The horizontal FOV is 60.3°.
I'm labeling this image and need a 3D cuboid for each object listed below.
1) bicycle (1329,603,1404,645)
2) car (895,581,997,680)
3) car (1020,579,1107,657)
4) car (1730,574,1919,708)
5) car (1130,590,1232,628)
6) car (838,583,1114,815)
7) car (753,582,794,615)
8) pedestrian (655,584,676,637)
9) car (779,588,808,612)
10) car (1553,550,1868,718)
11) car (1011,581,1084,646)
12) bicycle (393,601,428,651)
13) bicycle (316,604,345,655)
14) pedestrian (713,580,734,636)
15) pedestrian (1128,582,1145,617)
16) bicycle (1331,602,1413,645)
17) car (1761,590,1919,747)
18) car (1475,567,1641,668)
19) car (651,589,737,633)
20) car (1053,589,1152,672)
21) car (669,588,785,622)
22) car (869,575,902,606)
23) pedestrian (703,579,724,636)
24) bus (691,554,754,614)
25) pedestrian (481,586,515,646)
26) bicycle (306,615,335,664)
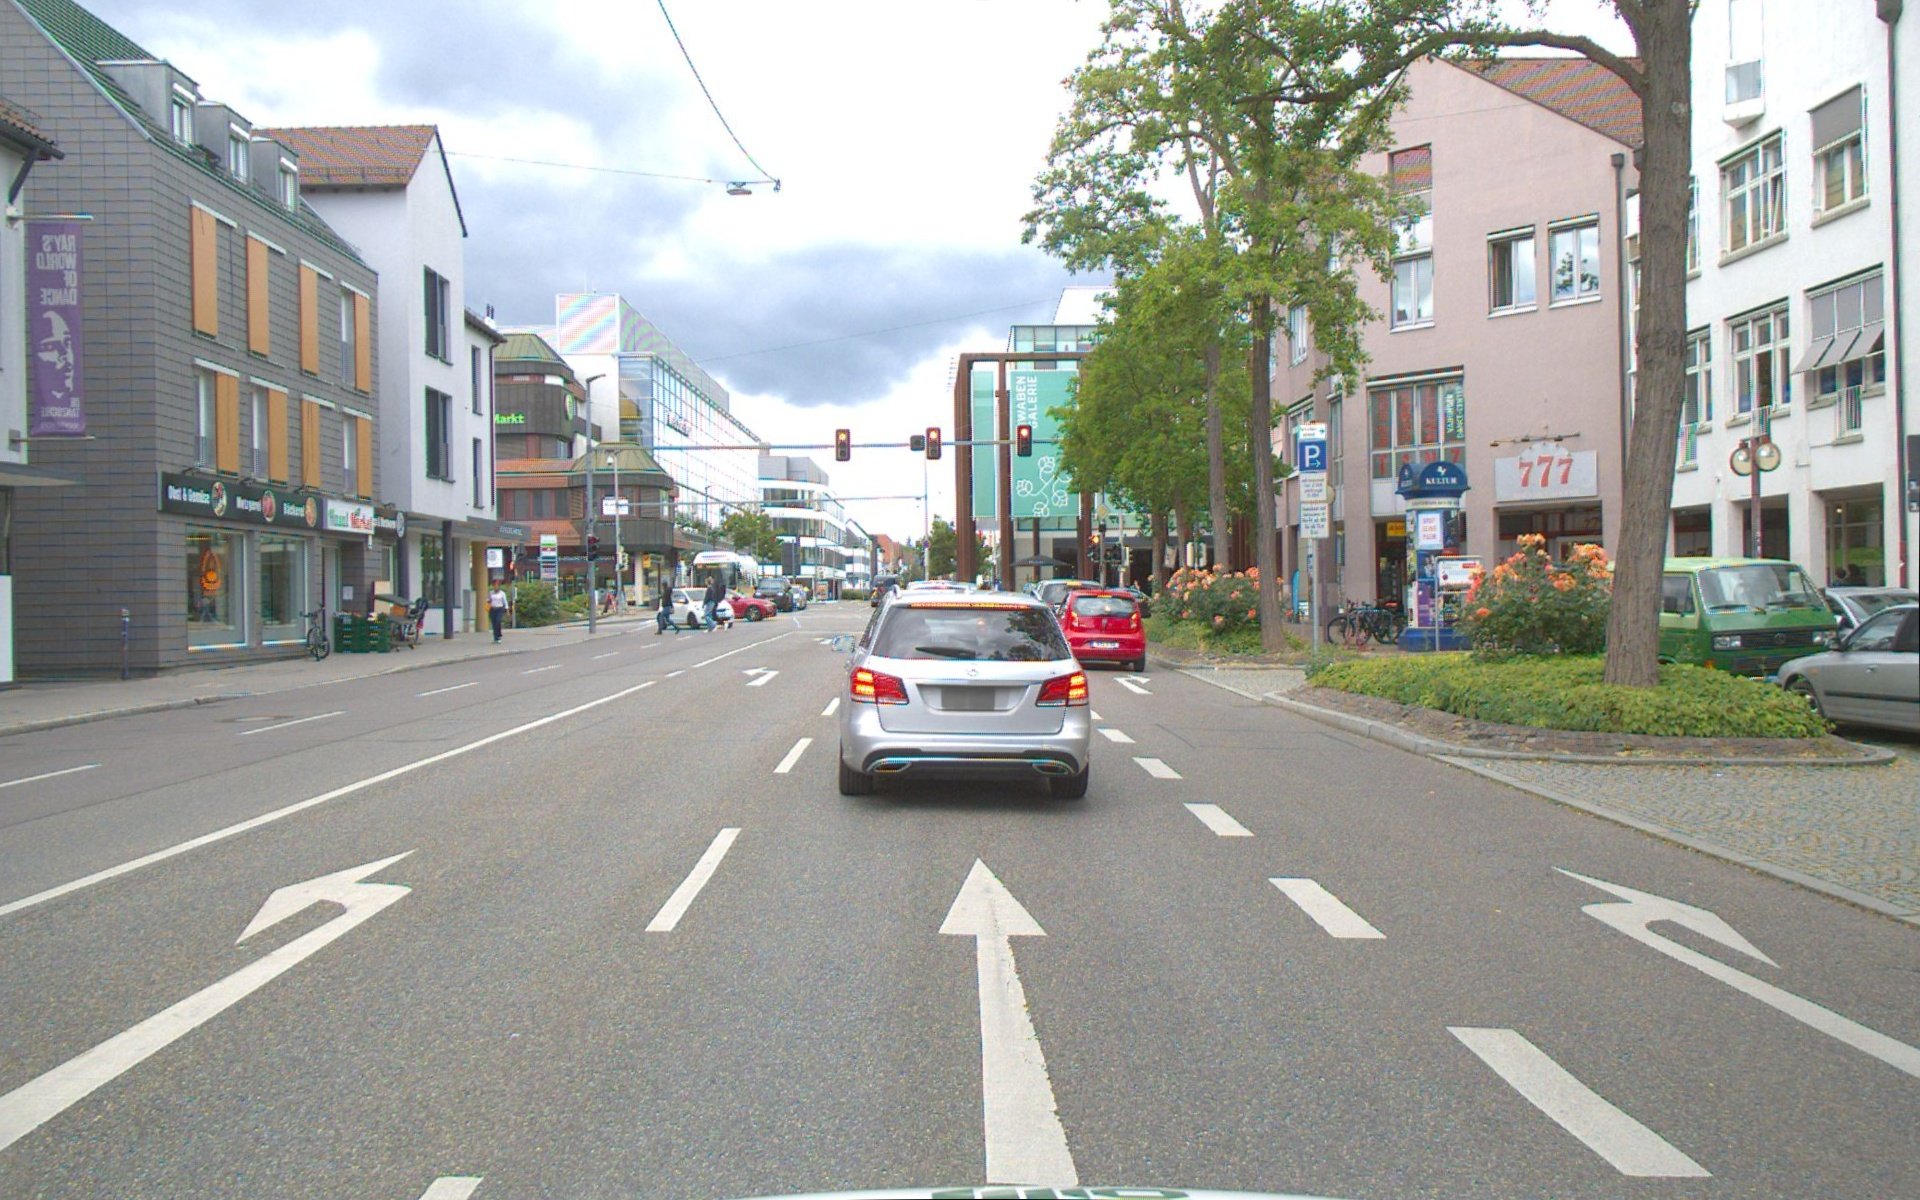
[{"bbox_3d":[9.926,0.584,40.411,1.731,1.014,0.447,-1,0,3],"label":"bicycle"},{"bbox_3d":[-0.246,0.474,28.097,1.606,1.554,3.393,1,0,-1],"label":"car"},{"bbox_3d":[2.321,0.373,37.839,1.555,1.662,3.915,1,0,-2],"label":"car"},{"bbox_3d":[12.271,0.465,22.071,1.760,1.569,4.392,-2,0,-3],"label":"car"},{"bbox_3d":[9.434,0.384,70.726,4.102,1.557,1.790,0,0,-1],"label":"car"},{"bbox_3d":[0.083,0.642,13.010,1.778,1.474,4.369,1,0,-1],"label":"car"},{"bbox_3d":[-10.385,-0.100,92.204,1.953,1.735,4.063,0,0,-2],"label":"car"},{"bbox_3d":[-9.415,0.329,52.880,0.549,1.679,0.650,-1,0,-18],"label":"pedestrian"},{"bbox_3d":[-10.052,-0.018,99.924,1.524,1.417,3.286,0,0,-2],"label":"car"},{"bbox_3d":[9.670,0.380,21.786,1.843,1.909,4.603,-2,0,-3],"label":"car"},{"bbox_3d":[2.289,0.328,44.159,1.555,1.623,3.866,1,0,-2],"label":"car"},{"bbox_3d":[-13.735,0.637,41.367,0.379,1.207,1.824,-1,0,-4],"label":"bicycle"},{"bbox_3d":[-14.639,0.686,38.486,0.379,1.147,1.286,-1,0,-11],"label":"bicycle"},{"bbox_3d":[-7.694,0.244,53.763,0.633,1.806,0.569,-1,0,-12],"label":"pedestrian"},{"bbox_3d":[8.579,-0.008,80.556,0.641,1.679,0.557,-1,0,-15],"label":"pedestrian"},{"bbox_3d":[9.924,0.567,39.864,1.861,1.014,0.468,-1,0,3],"label":"bicycle"},{"bbox_3d":[10.022,0.649,16.526,1.727,1.476,4.417,-1,0,-3],"label":"car"},{"bbox_3d":[11.994,0.309,33.422,1.605,1.863,3.963,-1,1,-5],"label":"car"},{"bbox_3d":[-9.643,0.387,59.868,1.564,1.514,3.414,-2,1,-39],"label":"car"},{"bbox_3d":[2.692,0.542,31.806,1.554,1.468,3.348,1,0,-1],"label":"car"},{"bbox_3d":[-9.839,0.198,70.172,4.618,1.393,1.964,0,0,0],"label":"car"},{"bbox_3d":[-4.899,-0.625,109.069,1.953,1.983,4.950,0,0,0],"label":"car"},{"bbox_3d":[-7.887,0.229,52.873,0.635,1.821,0.682,-1,0,-10],"label":"pedestrian"},{"bbox_3d":[-13.565,-0.915,95.031,2.632,3.318,8.650,0,0,-2],"label":"bus"},{"bbox_3d":[-12.710,0.430,45.550,0.713,1.638,0.753,-1,0,-1],"label":"pedestrian"},{"bbox_3d":[-13.299,0.821,34.418,0.320,0.970,1.479,-1,0,-12],"label":"bicycle"}]
